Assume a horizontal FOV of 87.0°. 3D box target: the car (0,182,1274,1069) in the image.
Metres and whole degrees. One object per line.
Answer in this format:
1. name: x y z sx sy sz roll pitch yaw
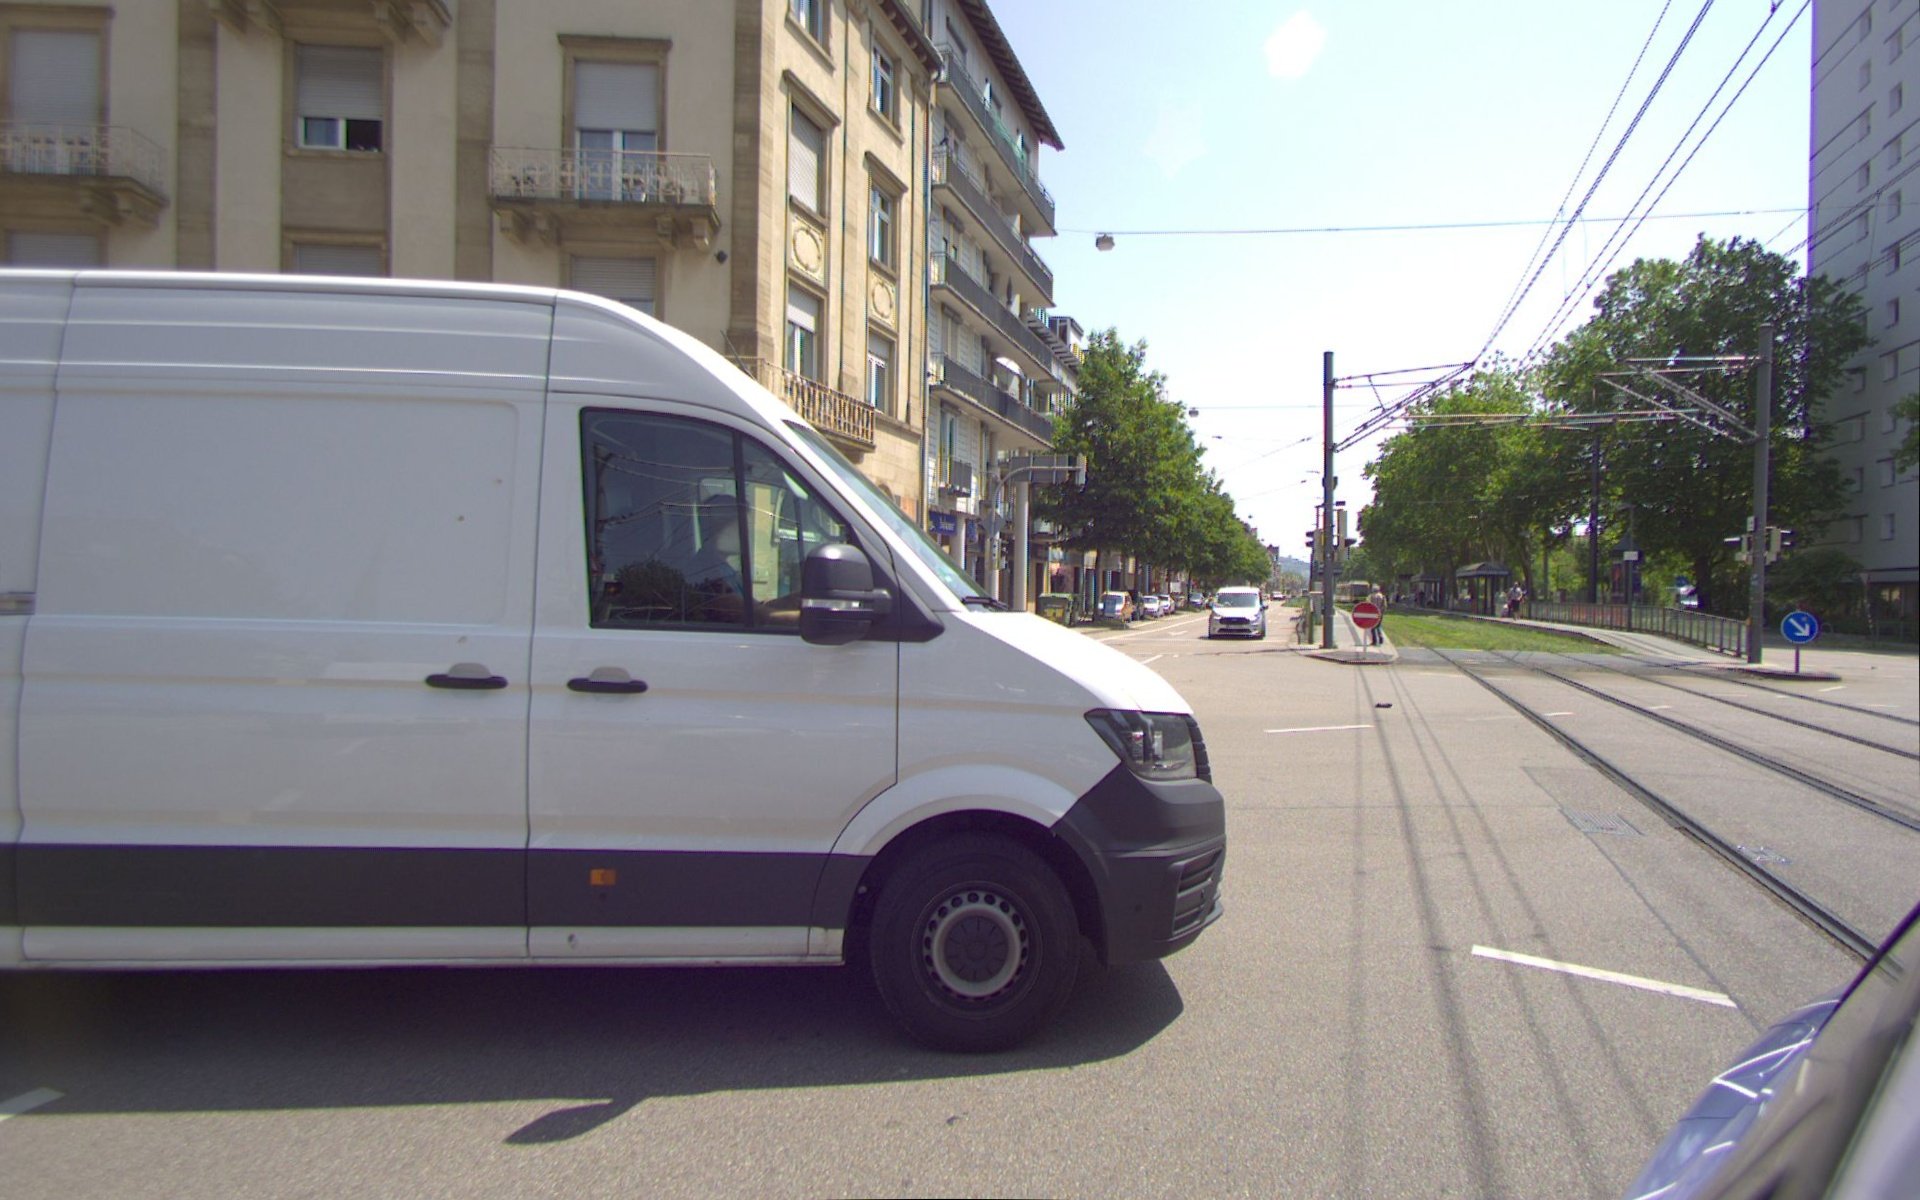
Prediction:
1. car: -2.329 0.069 4.108 6.504 2.670 2.078 1 0 -2

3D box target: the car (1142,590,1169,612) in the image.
1. car: 13.899 0.050 71.926 1.663 1.460 3.459 0 1 15

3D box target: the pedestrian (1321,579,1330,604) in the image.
1. pedestrian: 23.805 -0.555 65.863 0.543 1.626 0.550 -1 0 19

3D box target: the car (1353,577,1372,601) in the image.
1. car: 58.263 -1.587 146.581 2.248 3.381 11.955 0 1 20

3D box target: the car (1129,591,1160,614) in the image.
1. car: 12.250 0.162 67.072 1.663 1.460 3.459 1 1 15

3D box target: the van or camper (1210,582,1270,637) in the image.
1. van or camper: 9.823 0.279 35.316 1.744 1.780 4.566 -1 0 19

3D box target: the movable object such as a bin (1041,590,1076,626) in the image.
1. movable object such as a bin: 4.099 0.314 42.097 1.201 1.454 1.001 -1 0 23

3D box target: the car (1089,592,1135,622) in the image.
1. car: 8.285 0.341 54.970 1.972 1.550 3.980 -1 1 16

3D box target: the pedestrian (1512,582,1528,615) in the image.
1. pedestrian: 27.449 -0.089 49.645 0.546 1.626 0.676 -1 0 19

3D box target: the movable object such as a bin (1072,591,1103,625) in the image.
1. movable object such as a bin: 5.535 0.342 43.903 1.197 1.454 1.004 -1 0 14

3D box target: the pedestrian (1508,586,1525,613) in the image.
1. pedestrian: 29.202 -0.030 53.108 0.670 1.366 0.628 -1 0 19

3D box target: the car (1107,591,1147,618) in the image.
1. car: 9.954 0.251 60.191 1.866 1.550 3.980 -1 1 16

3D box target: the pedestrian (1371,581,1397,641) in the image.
1. pedestrian: 12.298 0.305 29.362 0.672 1.727 0.549 -1 0 23
